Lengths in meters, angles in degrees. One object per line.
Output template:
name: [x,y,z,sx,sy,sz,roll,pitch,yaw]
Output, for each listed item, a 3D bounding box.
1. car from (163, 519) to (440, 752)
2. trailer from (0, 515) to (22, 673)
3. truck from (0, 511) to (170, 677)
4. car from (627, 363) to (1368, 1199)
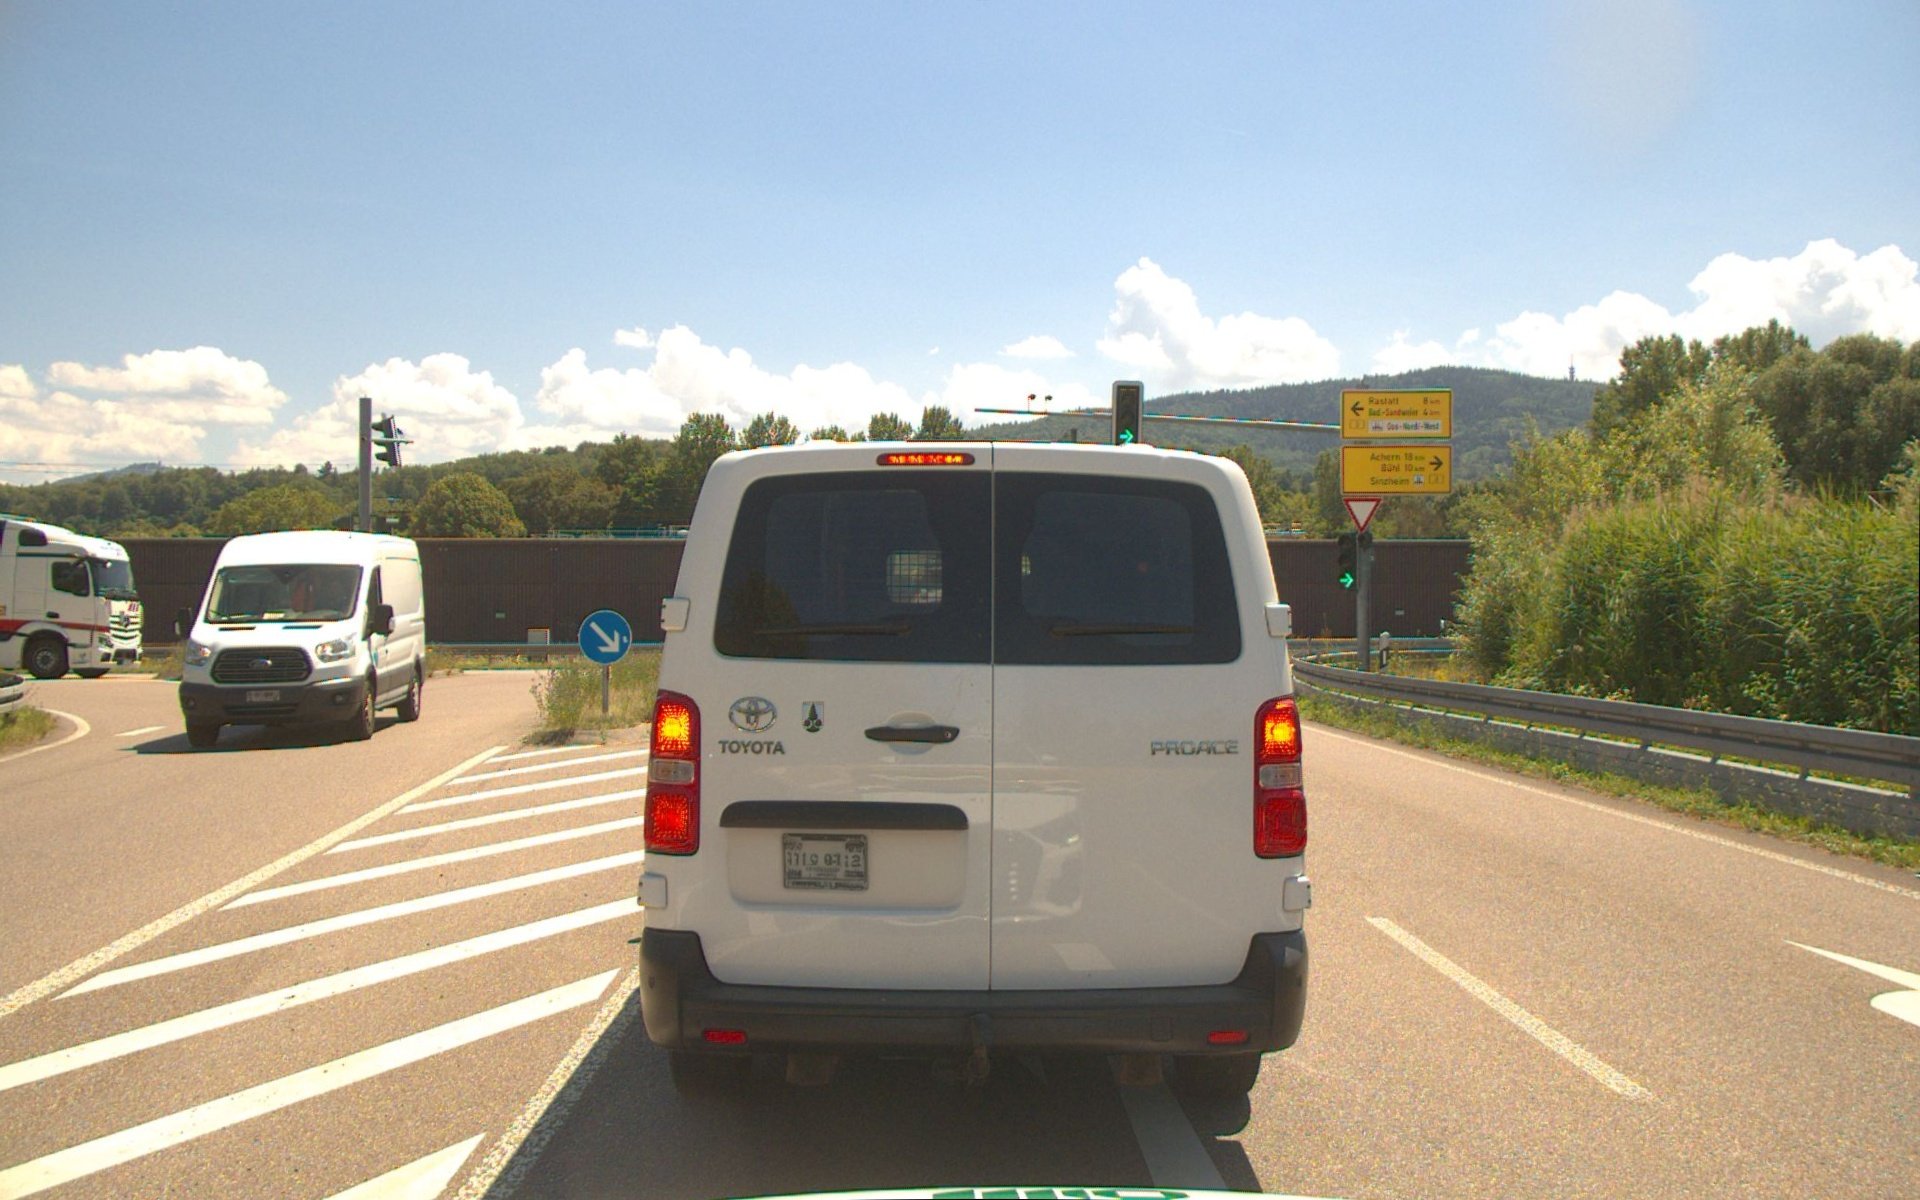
car: [-8.001,0.386,20.704,1.957,2.458,5.578,-2,0,-9]
trailer: [-30.914,-0.182,41.401,12.877,4.024,3.060,0,-1,-3]
truck: [-23.527,-0.144,41.749,5.649,4.024,3.061,0,-1,-3]
car: [0.066,0.471,5.983,1.778,2.053,3.999,0,0,-1]
